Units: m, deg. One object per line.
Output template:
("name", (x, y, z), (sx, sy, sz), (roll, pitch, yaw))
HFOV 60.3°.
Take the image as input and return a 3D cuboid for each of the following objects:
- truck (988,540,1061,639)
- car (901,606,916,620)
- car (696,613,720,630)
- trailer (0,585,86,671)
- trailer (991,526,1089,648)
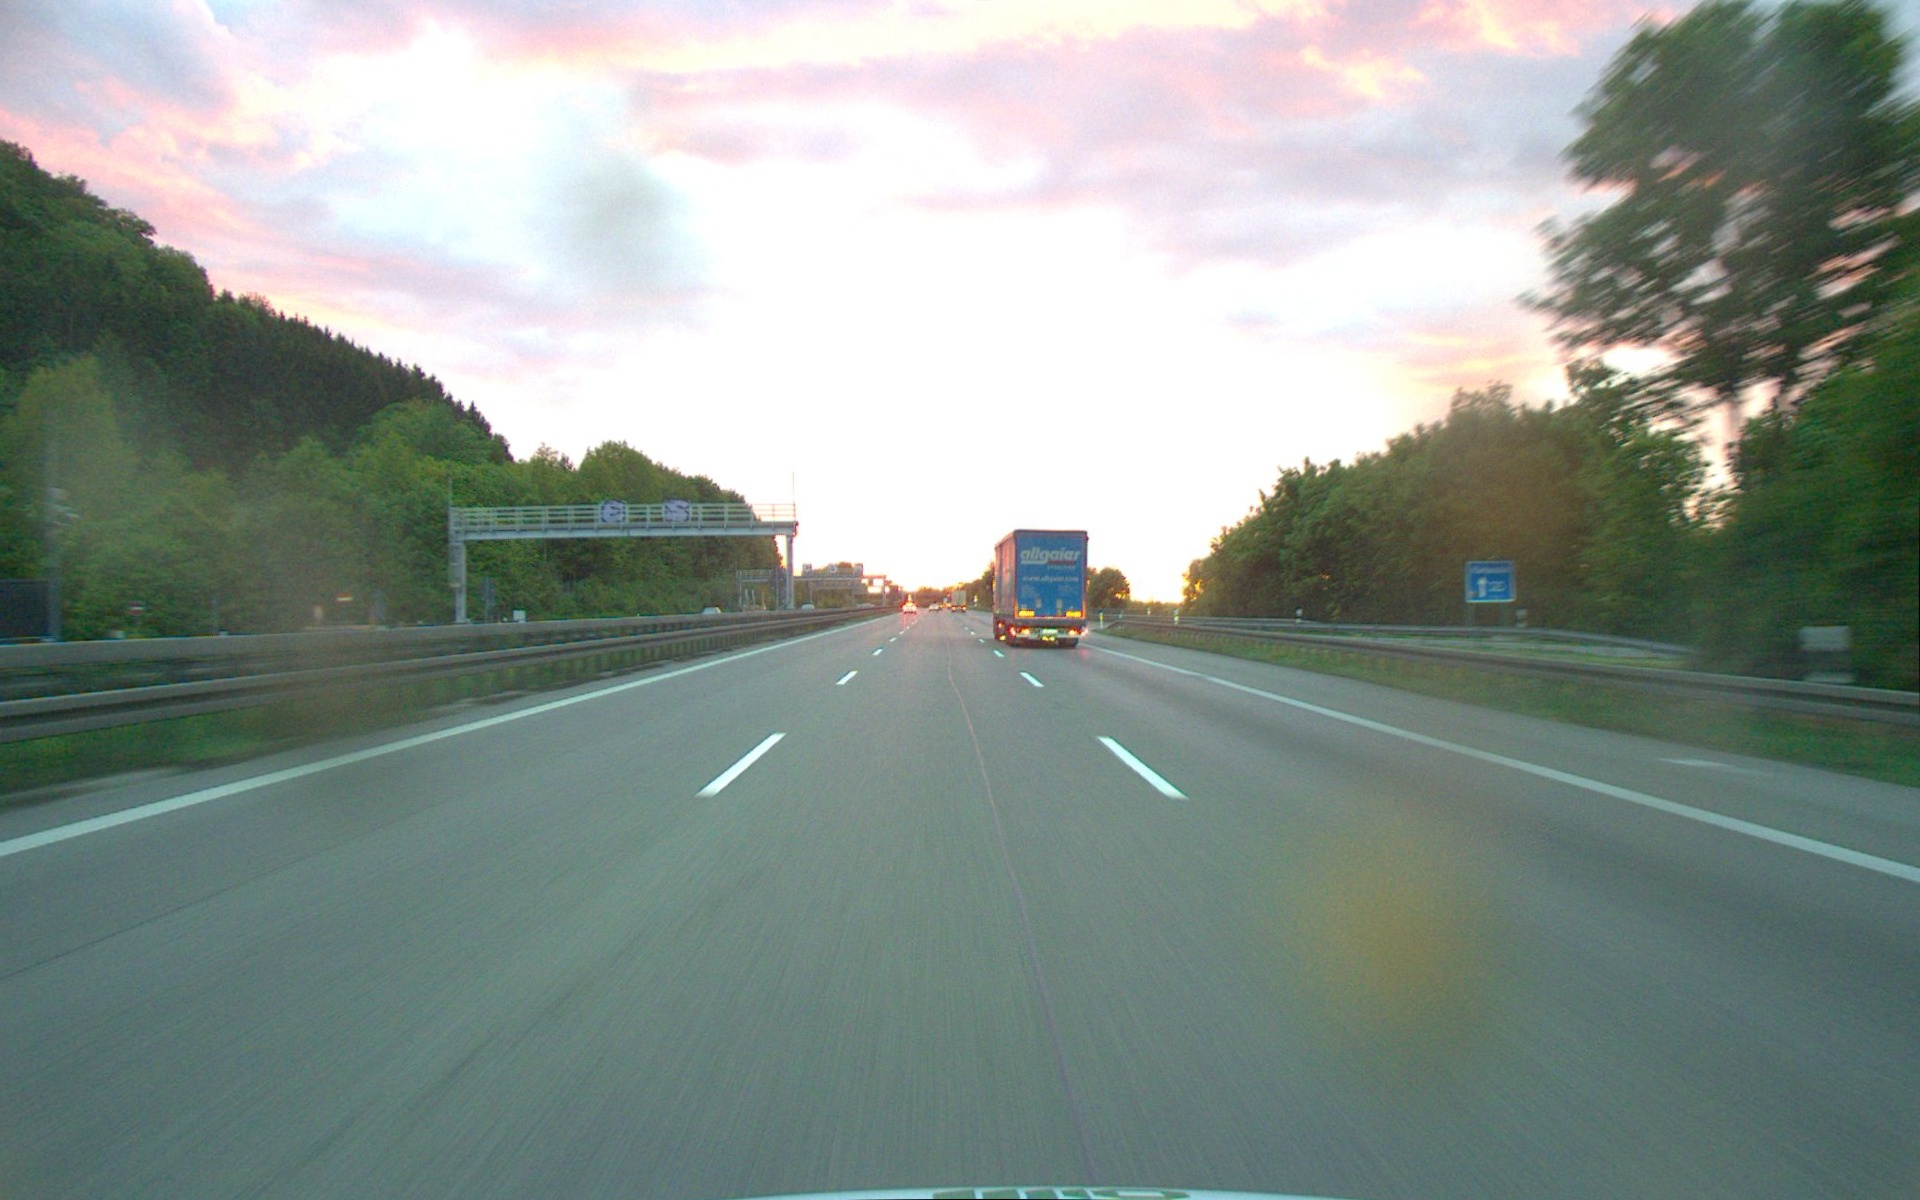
("truck", (2.690, -0.422, 70.981), (2.681, 4.066, 5.847), (1, 0, -2))
("car", (-7.302, 1.864, 233.579), (1.972, 1.780, 3.902), (-3, 0, -1))
("car", (-22.434, 1.898, 147.400), (1.608, 1.446, 3.535), (0, 0, -1))
("trailer", (-44.746, 1.227, 71.002), (3.004, 3.743, 13.320), (0, 0, 29))
("trailer", (2.877, -0.400, 63.871), (2.716, 4.158, 13.734), (1, 0, -2))
